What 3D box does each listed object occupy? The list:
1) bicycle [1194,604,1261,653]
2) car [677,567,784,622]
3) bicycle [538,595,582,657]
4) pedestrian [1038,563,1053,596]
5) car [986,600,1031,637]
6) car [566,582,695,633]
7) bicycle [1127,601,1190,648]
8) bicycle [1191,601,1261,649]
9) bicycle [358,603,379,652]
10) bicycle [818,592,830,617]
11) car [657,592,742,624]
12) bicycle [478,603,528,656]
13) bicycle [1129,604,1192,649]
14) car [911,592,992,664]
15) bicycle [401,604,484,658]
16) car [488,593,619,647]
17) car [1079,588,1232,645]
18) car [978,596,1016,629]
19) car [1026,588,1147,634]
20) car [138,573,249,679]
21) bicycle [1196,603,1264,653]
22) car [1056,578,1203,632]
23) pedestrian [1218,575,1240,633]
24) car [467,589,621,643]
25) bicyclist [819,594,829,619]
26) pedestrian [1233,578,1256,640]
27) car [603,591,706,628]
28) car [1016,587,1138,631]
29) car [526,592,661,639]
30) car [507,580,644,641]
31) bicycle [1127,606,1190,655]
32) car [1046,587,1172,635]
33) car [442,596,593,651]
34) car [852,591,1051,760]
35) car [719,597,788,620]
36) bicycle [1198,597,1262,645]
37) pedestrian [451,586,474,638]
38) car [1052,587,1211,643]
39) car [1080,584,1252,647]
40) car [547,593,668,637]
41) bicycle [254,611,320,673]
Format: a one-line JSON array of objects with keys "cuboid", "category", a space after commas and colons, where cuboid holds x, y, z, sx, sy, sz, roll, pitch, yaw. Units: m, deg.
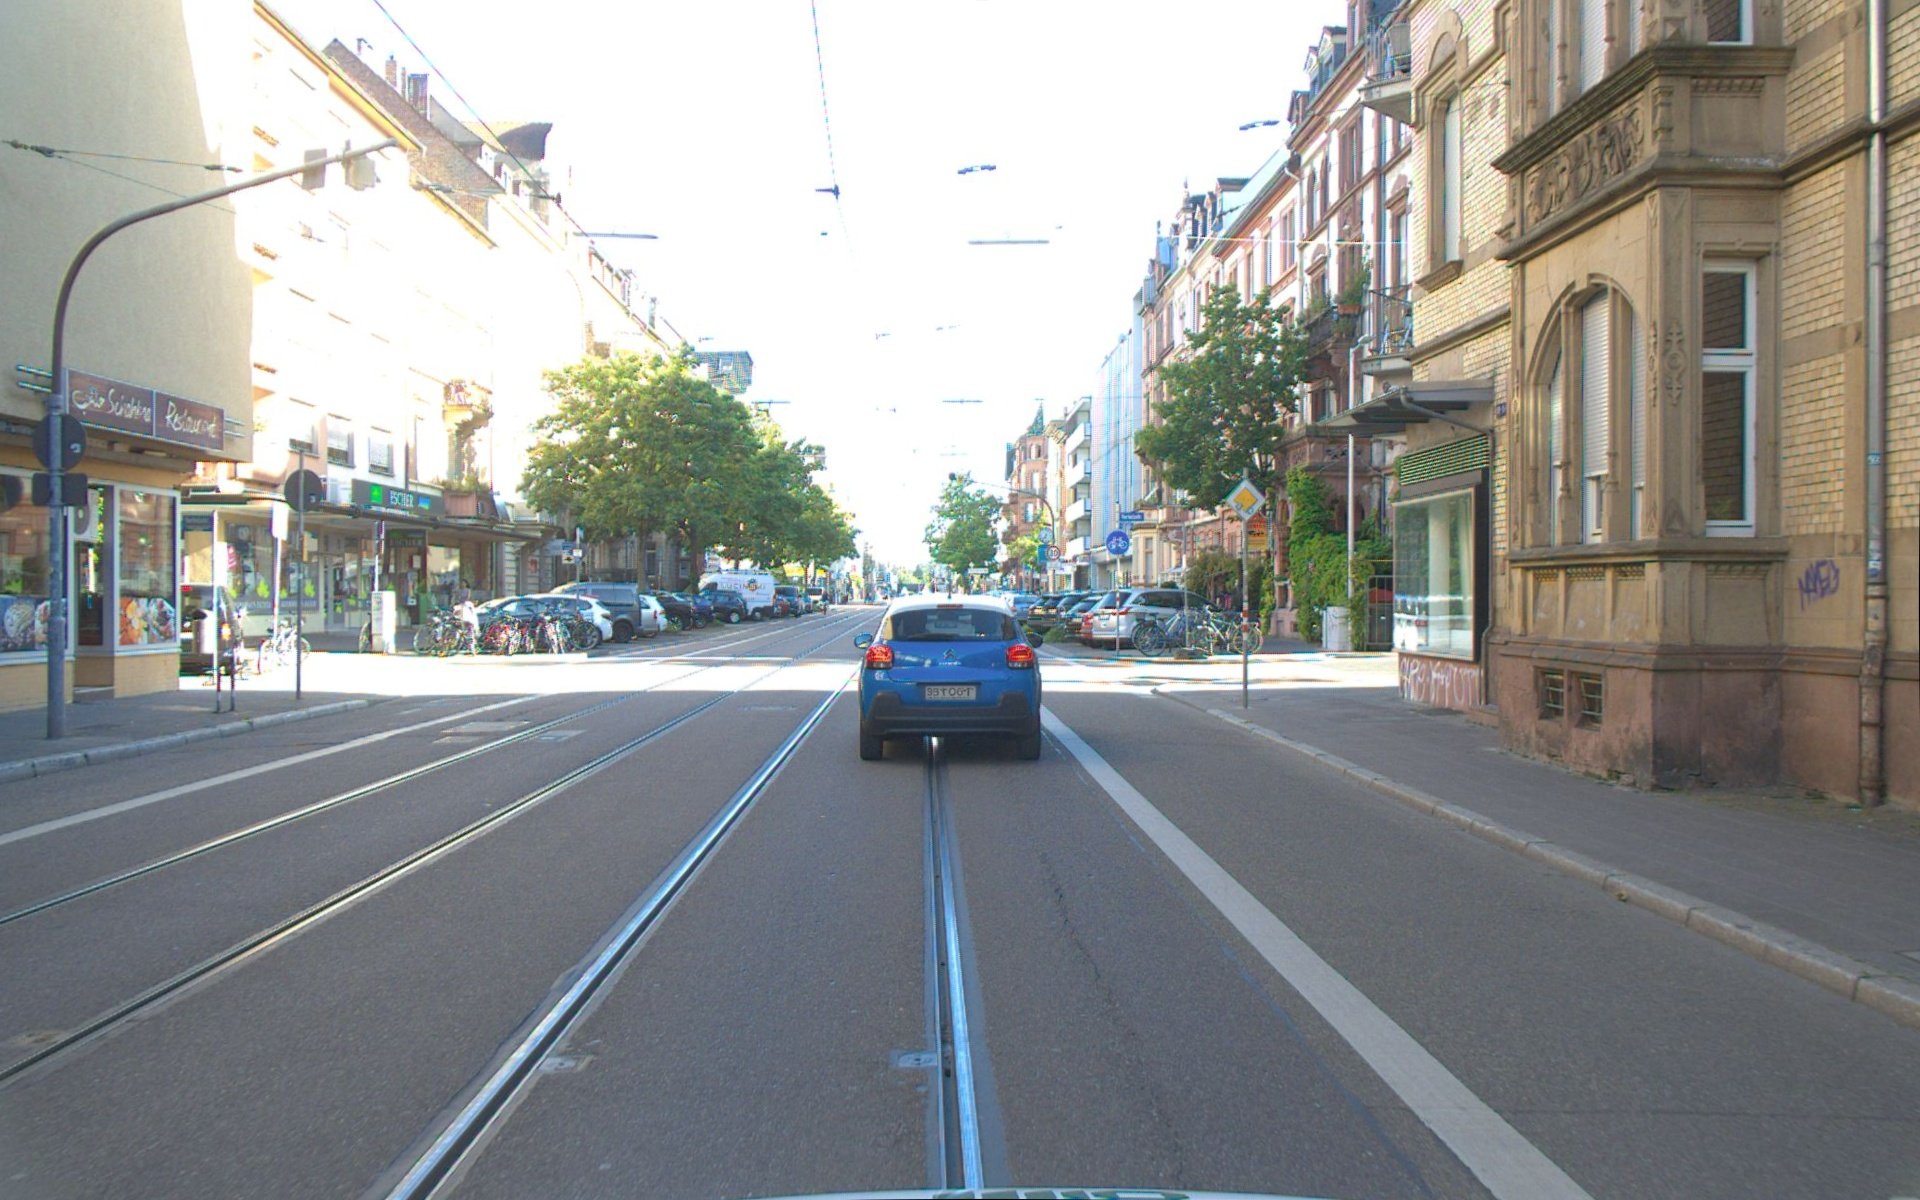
[{"cuboid": [6.352, 0.673, 39.263, 1.523, 1.147, 0.528, 1, 0, 5], "category": "bicycle"}, {"cuboid": [-12.115, -0.277, 87.422, 5.317, 2.797, 1.787, 1, 0, -32], "category": "car"}, {"cuboid": [-9.605, 0.609, 39.776, 0.668, 1.342, 2.433, 0, 2, -5], "category": "bicycle"}, {"cuboid": [4.315, -1.023, 83.621, 0.697, 1.635, 0.654, 1, 0, -2], "category": "pedestrian"}, {"cuboid": [2.159, 0.821, 75.155, 1.835, 1.624, 4.718, 1, 0, -1], "category": "car"}, {"cuboid": [-12.285, 0.288, 61.755, 4.314, 1.814, 1.972, 1, 0, -34], "category": "car"}, {"cuboid": [4.918, 0.610, 41.070, 1.527, 1.147, 0.295, 1, 0, 5], "category": "bicycle"}, {"cuboid": [6.405, 0.596, 39.873, 1.639, 1.147, 0.552, 1, 0, 5], "category": "bicycle"}, {"cuboid": [-14.033, 0.635, 39.217, 0.397, 1.129, 1.825, 0, 0, -22], "category": "bicycle"}, {"cuboid": [-9.409, 0.293, 114.494, 0.666, 1.708, 2.096, 1, 0, -1], "category": "bicycle"}, {"cuboid": [-12.830, 0.383, 81.536, 3.925, 1.515, 1.797, 1, 0, -18], "category": "car"}, {"cuboid": [-10.902, 0.693, 39.415, 0.675, 1.143, 1.867, -1, 3, -32], "category": "bicycle"}, {"cuboid": [4.943, 0.647, 40.738, 1.523, 1.098, 0.307, 1, 0, 5], "category": "bicycle"}, {"cuboid": [-0.221, 0.640, 39.893, 1.835, 1.624, 3.999, 1, 0, -1], "category": "car"}, {"cuboid": [-12.171, 0.710, 38.854, 2.390, 1.128, 0.680, 2, 3, 39], "category": "bicycle"}, {"cuboid": [-11.884, 0.552, 48.356, 3.424, 1.499, 1.632, 0, 1, -31], "category": "car"}, {"cuboid": [5.520, 0.470, 46.706, 3.938, 1.563, 1.903, 1, 0, -26], "category": "car"}, {"cuboid": [1.930, 0.641, 86.428, 1.835, 1.624, 3.999, 1, 0, -1], "category": "car"}, {"cuboid": [4.629, 0.399, 60.542, 3.938, 1.624, 2.070, 1, 0, -26], "category": "car"}, {"cuboid": [-16.164, 0.473, 35.047, 1.818, 1.848, 4.330, -3, 4, -22], "category": "car"}, {"cuboid": [6.319, 0.643, 38.690, 1.523, 1.147, 0.552, 1, 0, 5], "category": "bicycle"}, {"cuboid": [5.385, 0.167, 52.549, 4.265, 1.624, 2.028, 1, 0, -26], "category": "car"}, {"cuboid": [7.951, 0.121, 48.898, 0.507, 1.677, 0.863, 1, 0, -1], "category": "pedestrian"}, {"cuboid": [-11.387, 0.446, 45.336, 3.747, 1.424, 1.734, 1, 0, -35], "category": "car"}, {"cuboid": [-9.419, 0.420, 114.474, 0.621, 1.711, 0.726, 1, 0, -1], "category": "bicyclist"}, {"cuboid": [8.473, 0.269, 49.309, 0.507, 1.809, 0.863, 1, 0, -1], "category": "pedestrian"}, {"cuboid": [-12.922, 0.415, 70.076, 3.943, 1.515, 1.789, 1, 0, -30], "category": "car"}, {"cuboid": [4.456, 0.350, 62.954, 4.250, 1.624, 1.966, 1, 0, -26], "category": "car"}, {"cuboid": [-11.895, 0.494, 53.727, 3.970, 1.475, 1.679, 1, 0, -34], "category": "car"}, {"cuboid": [-11.853, 0.334, 50.987, 3.769, 1.816, 1.779, 1, 0, -30], "category": "car"}, {"cuboid": [4.683, 0.721, 39.013, 1.372, 1.147, 0.550, 1, 0, -12], "category": "bicycle"}, {"cuboid": [5.167, 0.397, 57.420, 3.938, 1.624, 1.943, 1, 0, -26], "category": "car"}, {"cuboid": [-11.329, 0.593, 42.415, 3.431, 1.361, 1.604, 1, 0, -36], "category": "car"}, {"cuboid": [-0.118, 0.665, 16.217, 1.727, 1.466, 3.555, 1, 0, -2], "category": "car"}, {"cuboid": [-12.113, 0.497, 97.240, 3.752, 1.287, 1.503, 1, 0, -27], "category": "car"}, {"cuboid": [6.671, 0.520, 40.936, 1.523, 1.147, 0.552, 1, 0, 5], "category": "bicycle"}, {"cuboid": [-16.290, 0.393, 54.188, 0.557, 1.681, 0.641, 1, 0, -1], "category": "pedestrian"}, {"cuboid": [5.185, 0.461, 49.906, 4.380, 1.624, 2.071, 1, 0, -26], "category": "car"}, {"cuboid": [5.536, 0.413, 44.410, 4.298, 1.624, 1.838, 1, 0, -26], "category": "car"}, {"cuboid": [-12.181, 0.522, 57.139, 3.787, 1.455, 1.750, 1, 0, -27], "category": "car"}, {"cuboid": [-13.922, 0.850, 34.259, 0.668, 1.128, 2.432, 0, 2, -8], "category": "bicycle"}]
